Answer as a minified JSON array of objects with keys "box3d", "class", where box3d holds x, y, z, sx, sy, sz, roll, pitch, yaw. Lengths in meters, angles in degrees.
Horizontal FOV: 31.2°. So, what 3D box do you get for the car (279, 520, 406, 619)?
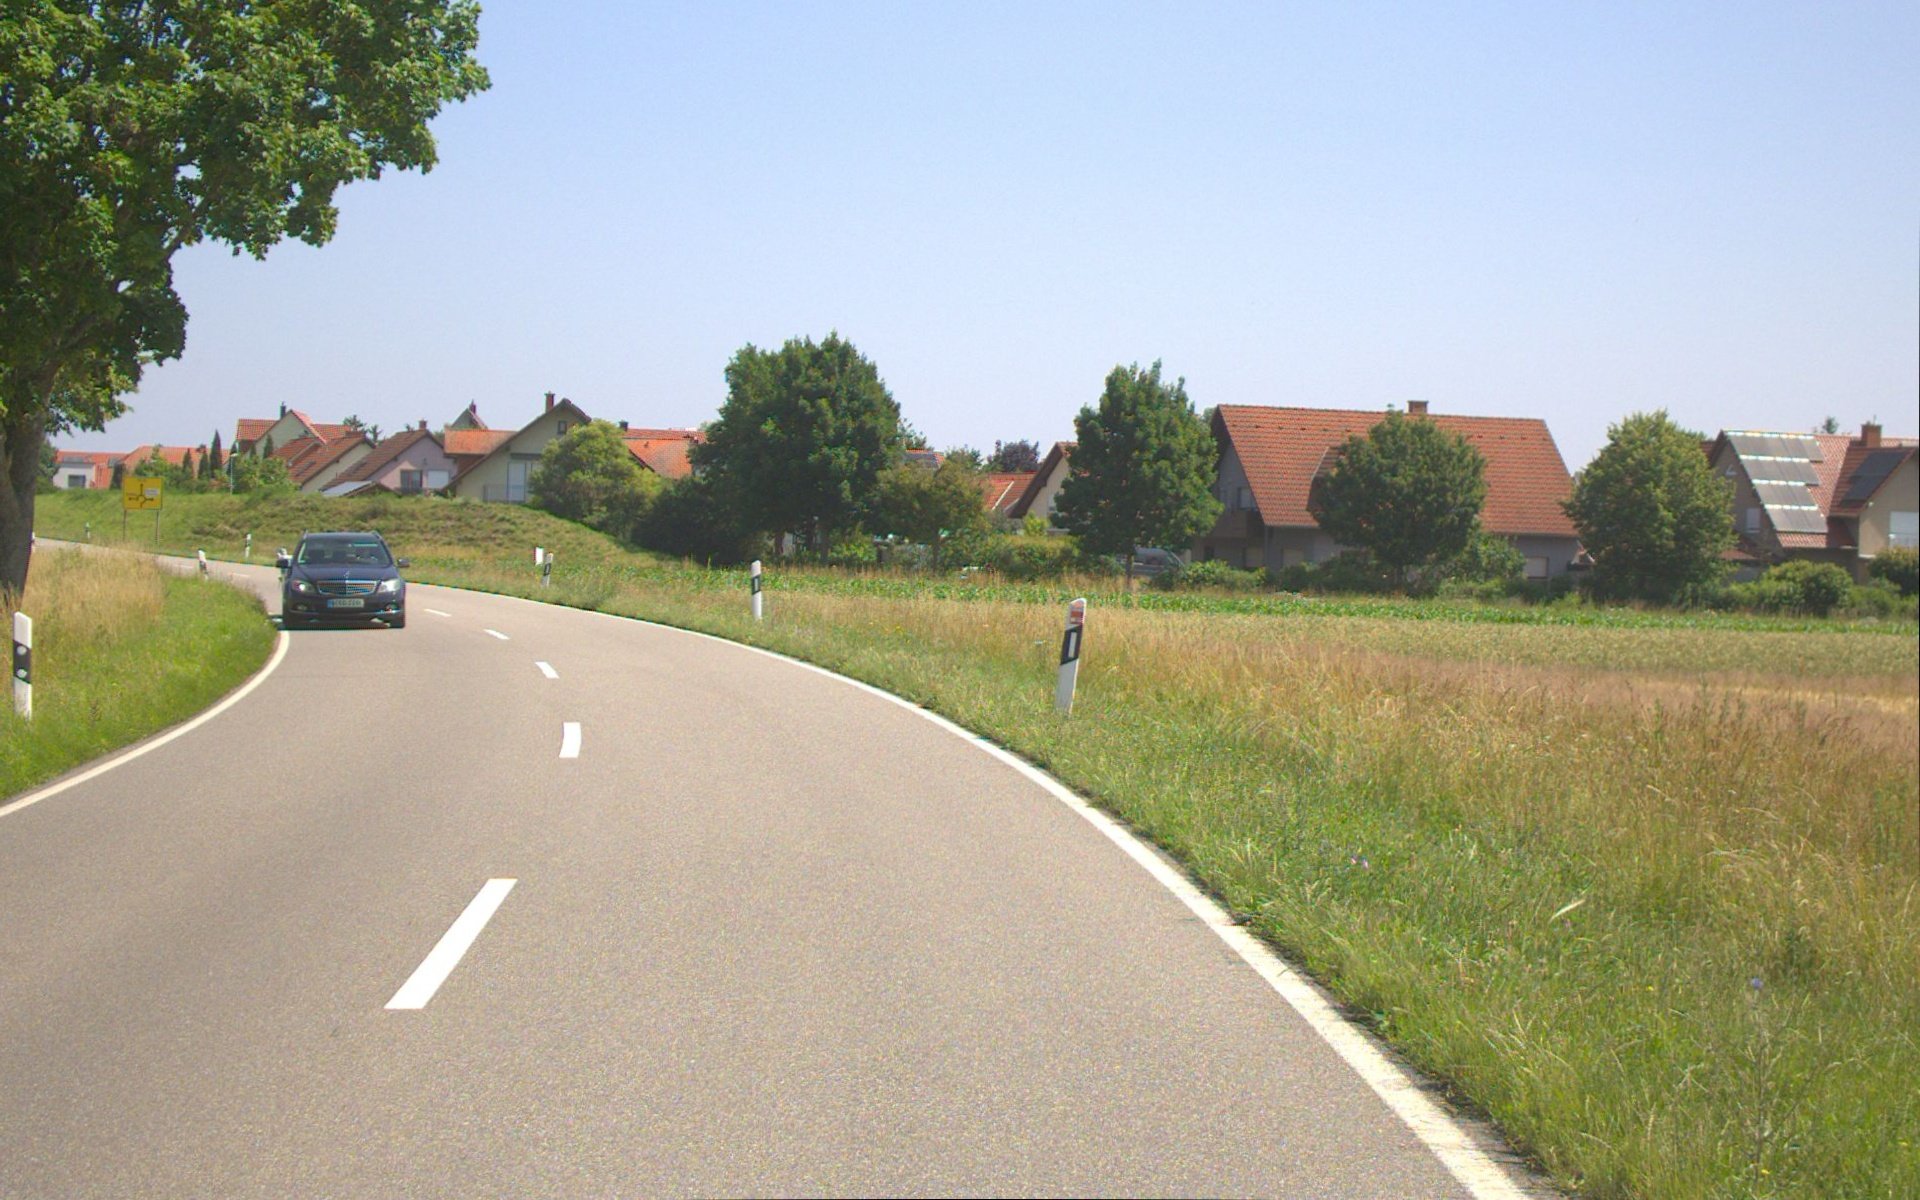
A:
[{"box3d":[-9.453,-0.492,52.447,1.643,1.424,4.182,-1,1,-13],"class":"car"}]
